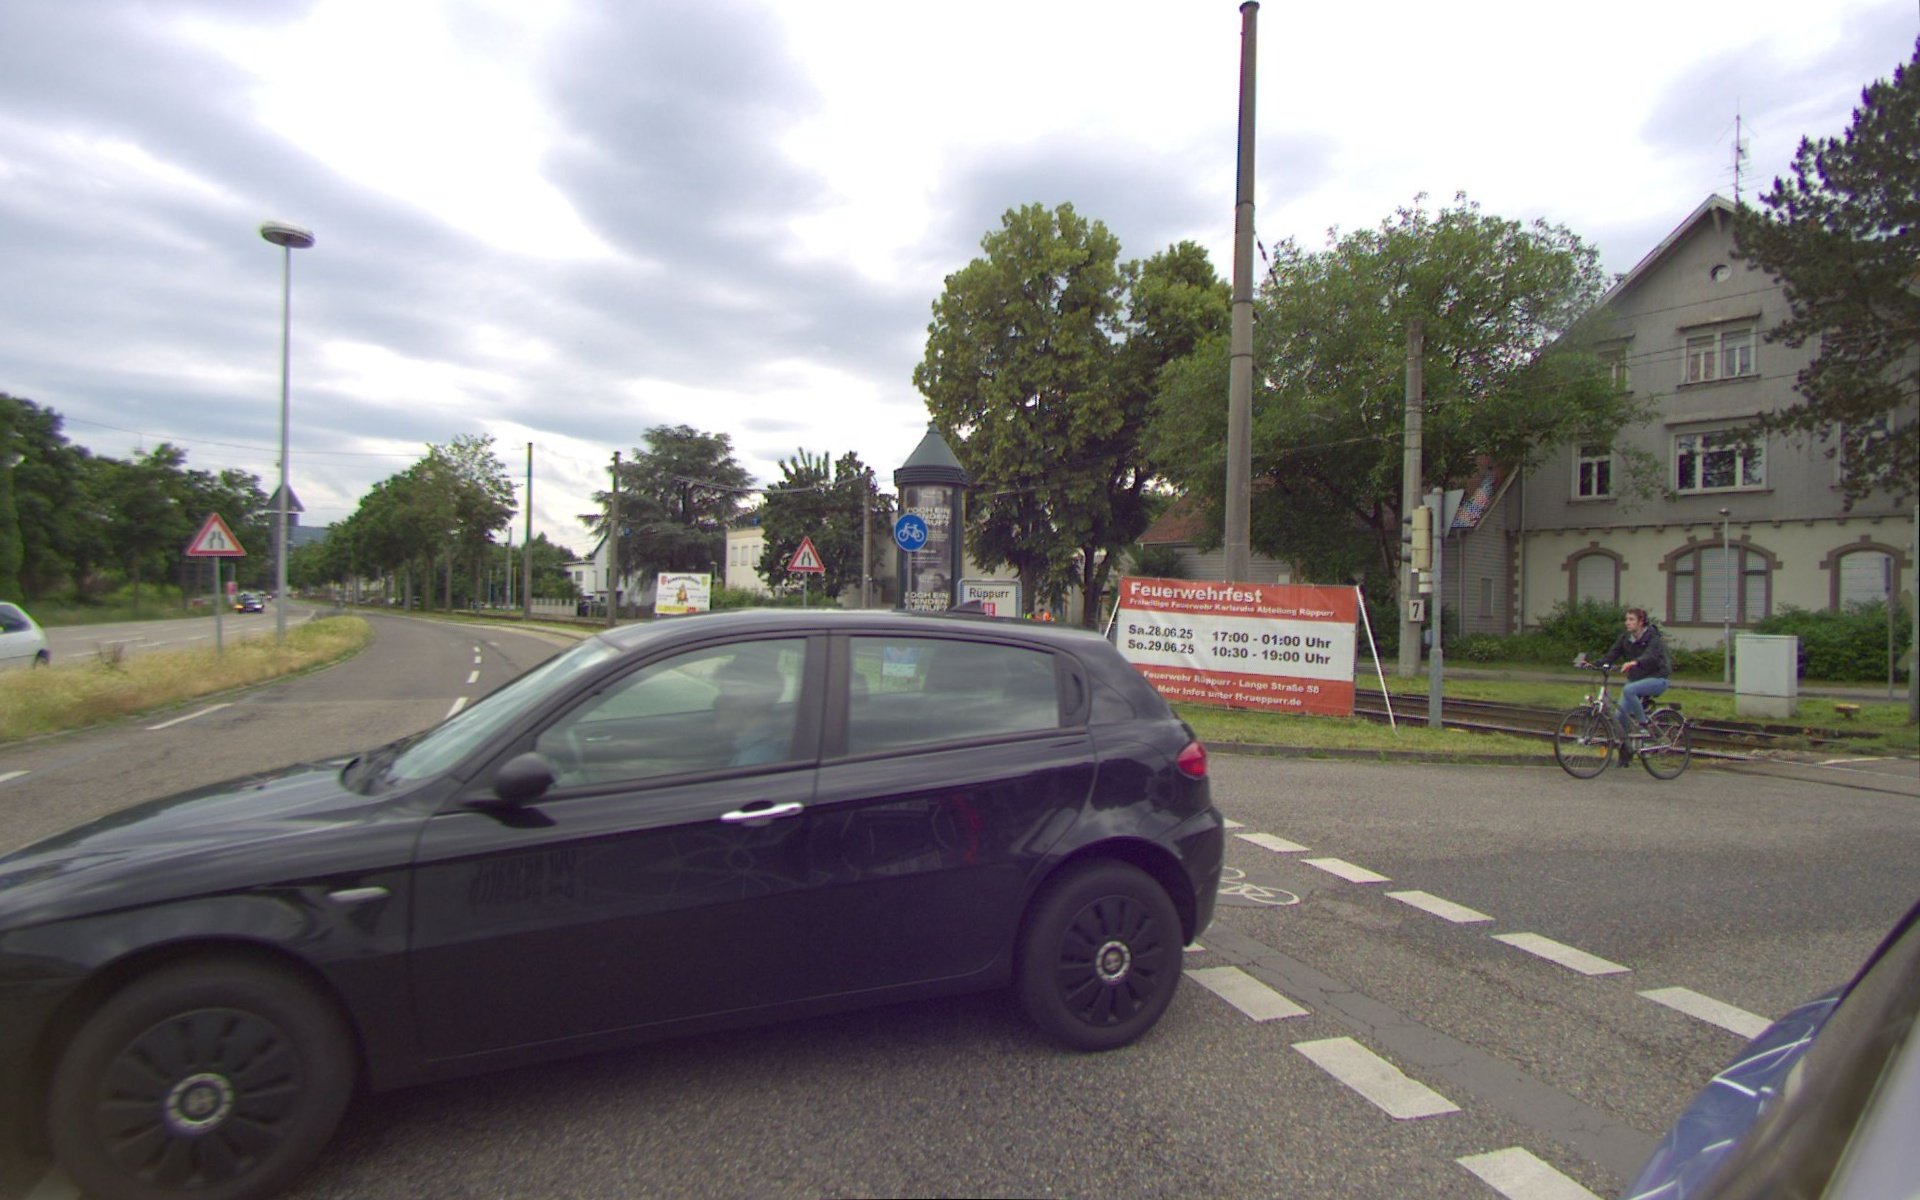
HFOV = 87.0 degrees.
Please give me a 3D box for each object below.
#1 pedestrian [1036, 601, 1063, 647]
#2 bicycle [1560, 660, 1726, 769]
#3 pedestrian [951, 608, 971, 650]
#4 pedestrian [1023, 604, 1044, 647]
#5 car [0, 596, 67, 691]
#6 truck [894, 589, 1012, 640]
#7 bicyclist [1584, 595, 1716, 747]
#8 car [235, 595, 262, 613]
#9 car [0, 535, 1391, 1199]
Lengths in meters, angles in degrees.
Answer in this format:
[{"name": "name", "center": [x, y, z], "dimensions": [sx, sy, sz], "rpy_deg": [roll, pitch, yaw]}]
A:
[{"name": "pedestrian", "center": [3.687, 0.982, 41.562], "dimensions": [0.855, 1.878, 0.681], "rpy_deg": [2, -1, -23]}, {"name": "bicycle", "center": [6.770, 1.103, 9.997], "dimensions": [1.987, 0.993, 0.384], "rpy_deg": [2, -1, -25]}, {"name": "pedestrian", "center": [0.055, 1.276, 45.032], "dimensions": [0.704, 1.864, 0.605], "rpy_deg": [1, -1, 20]}, {"name": "pedestrian", "center": [3.085, 1.071, 42.470], "dimensions": [0.574, 1.785, 0.626], "rpy_deg": [0, -1, 45]}, {"name": "car", "center": [-14.859, 0.622, 14.703], "dimensions": [1.613, 1.374, 4.158], "rpy_deg": [1, -1, -24]}, {"name": "truck", "center": [-0.449, 0.653, 48.815], "dimensions": [2.555, 2.322, 6.412], "rpy_deg": [1, 0, -34]}, {"name": "bicyclist", "center": [6.909, 0.701, 10.149], "dimensions": [0.941, 1.444, 0.624], "rpy_deg": [1, -5, -26]}, {"name": "car", "center": [-63.392, 0.318, 90.192], "dimensions": [1.628, 1.549, 3.893], "rpy_deg": [1, 0, -31]}, {"name": "car", "center": [-0.839, 0.627, 3.676], "dimensions": [4.445, 1.476, 1.807], "rpy_deg": [1, -1, -22]}]
